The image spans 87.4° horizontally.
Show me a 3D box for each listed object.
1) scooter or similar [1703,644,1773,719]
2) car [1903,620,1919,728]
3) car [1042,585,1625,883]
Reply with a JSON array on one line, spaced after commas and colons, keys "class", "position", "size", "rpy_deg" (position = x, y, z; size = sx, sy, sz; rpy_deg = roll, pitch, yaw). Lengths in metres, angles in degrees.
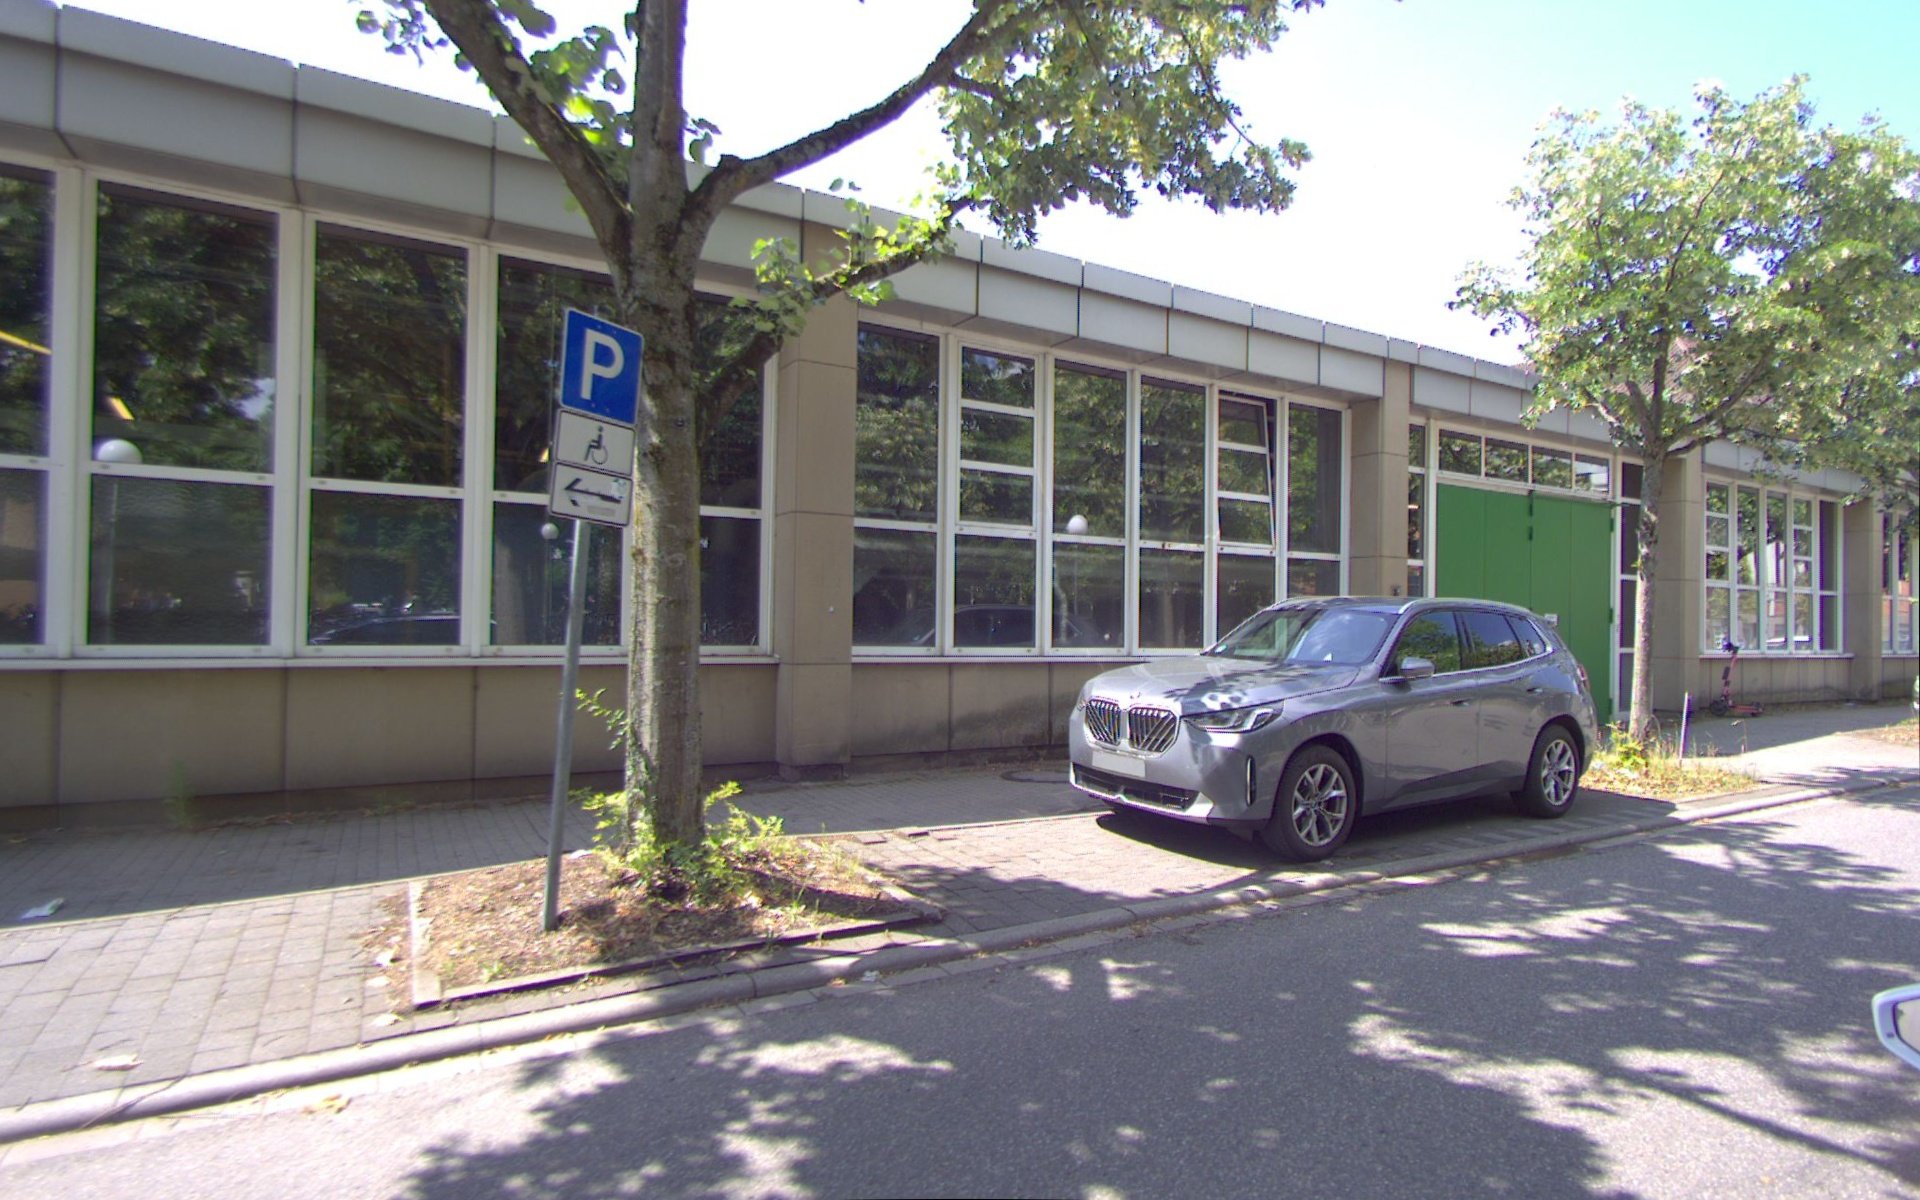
[{"class": "scooter or similar", "position": [13.095, 1.355, 16.908], "size": [1.201, 1.185, 0.503], "rpy_deg": [2, 0, -30]}, {"class": "car", "position": [16.192, 1.167, 15.249], "size": [4.068, 1.577, 1.747], "rpy_deg": [2, 0, -32]}, {"class": "car", "position": [2.959, 0.801, 7.600], "size": [4.469, 1.654, 1.811], "rpy_deg": [2, 0, -33]}]
